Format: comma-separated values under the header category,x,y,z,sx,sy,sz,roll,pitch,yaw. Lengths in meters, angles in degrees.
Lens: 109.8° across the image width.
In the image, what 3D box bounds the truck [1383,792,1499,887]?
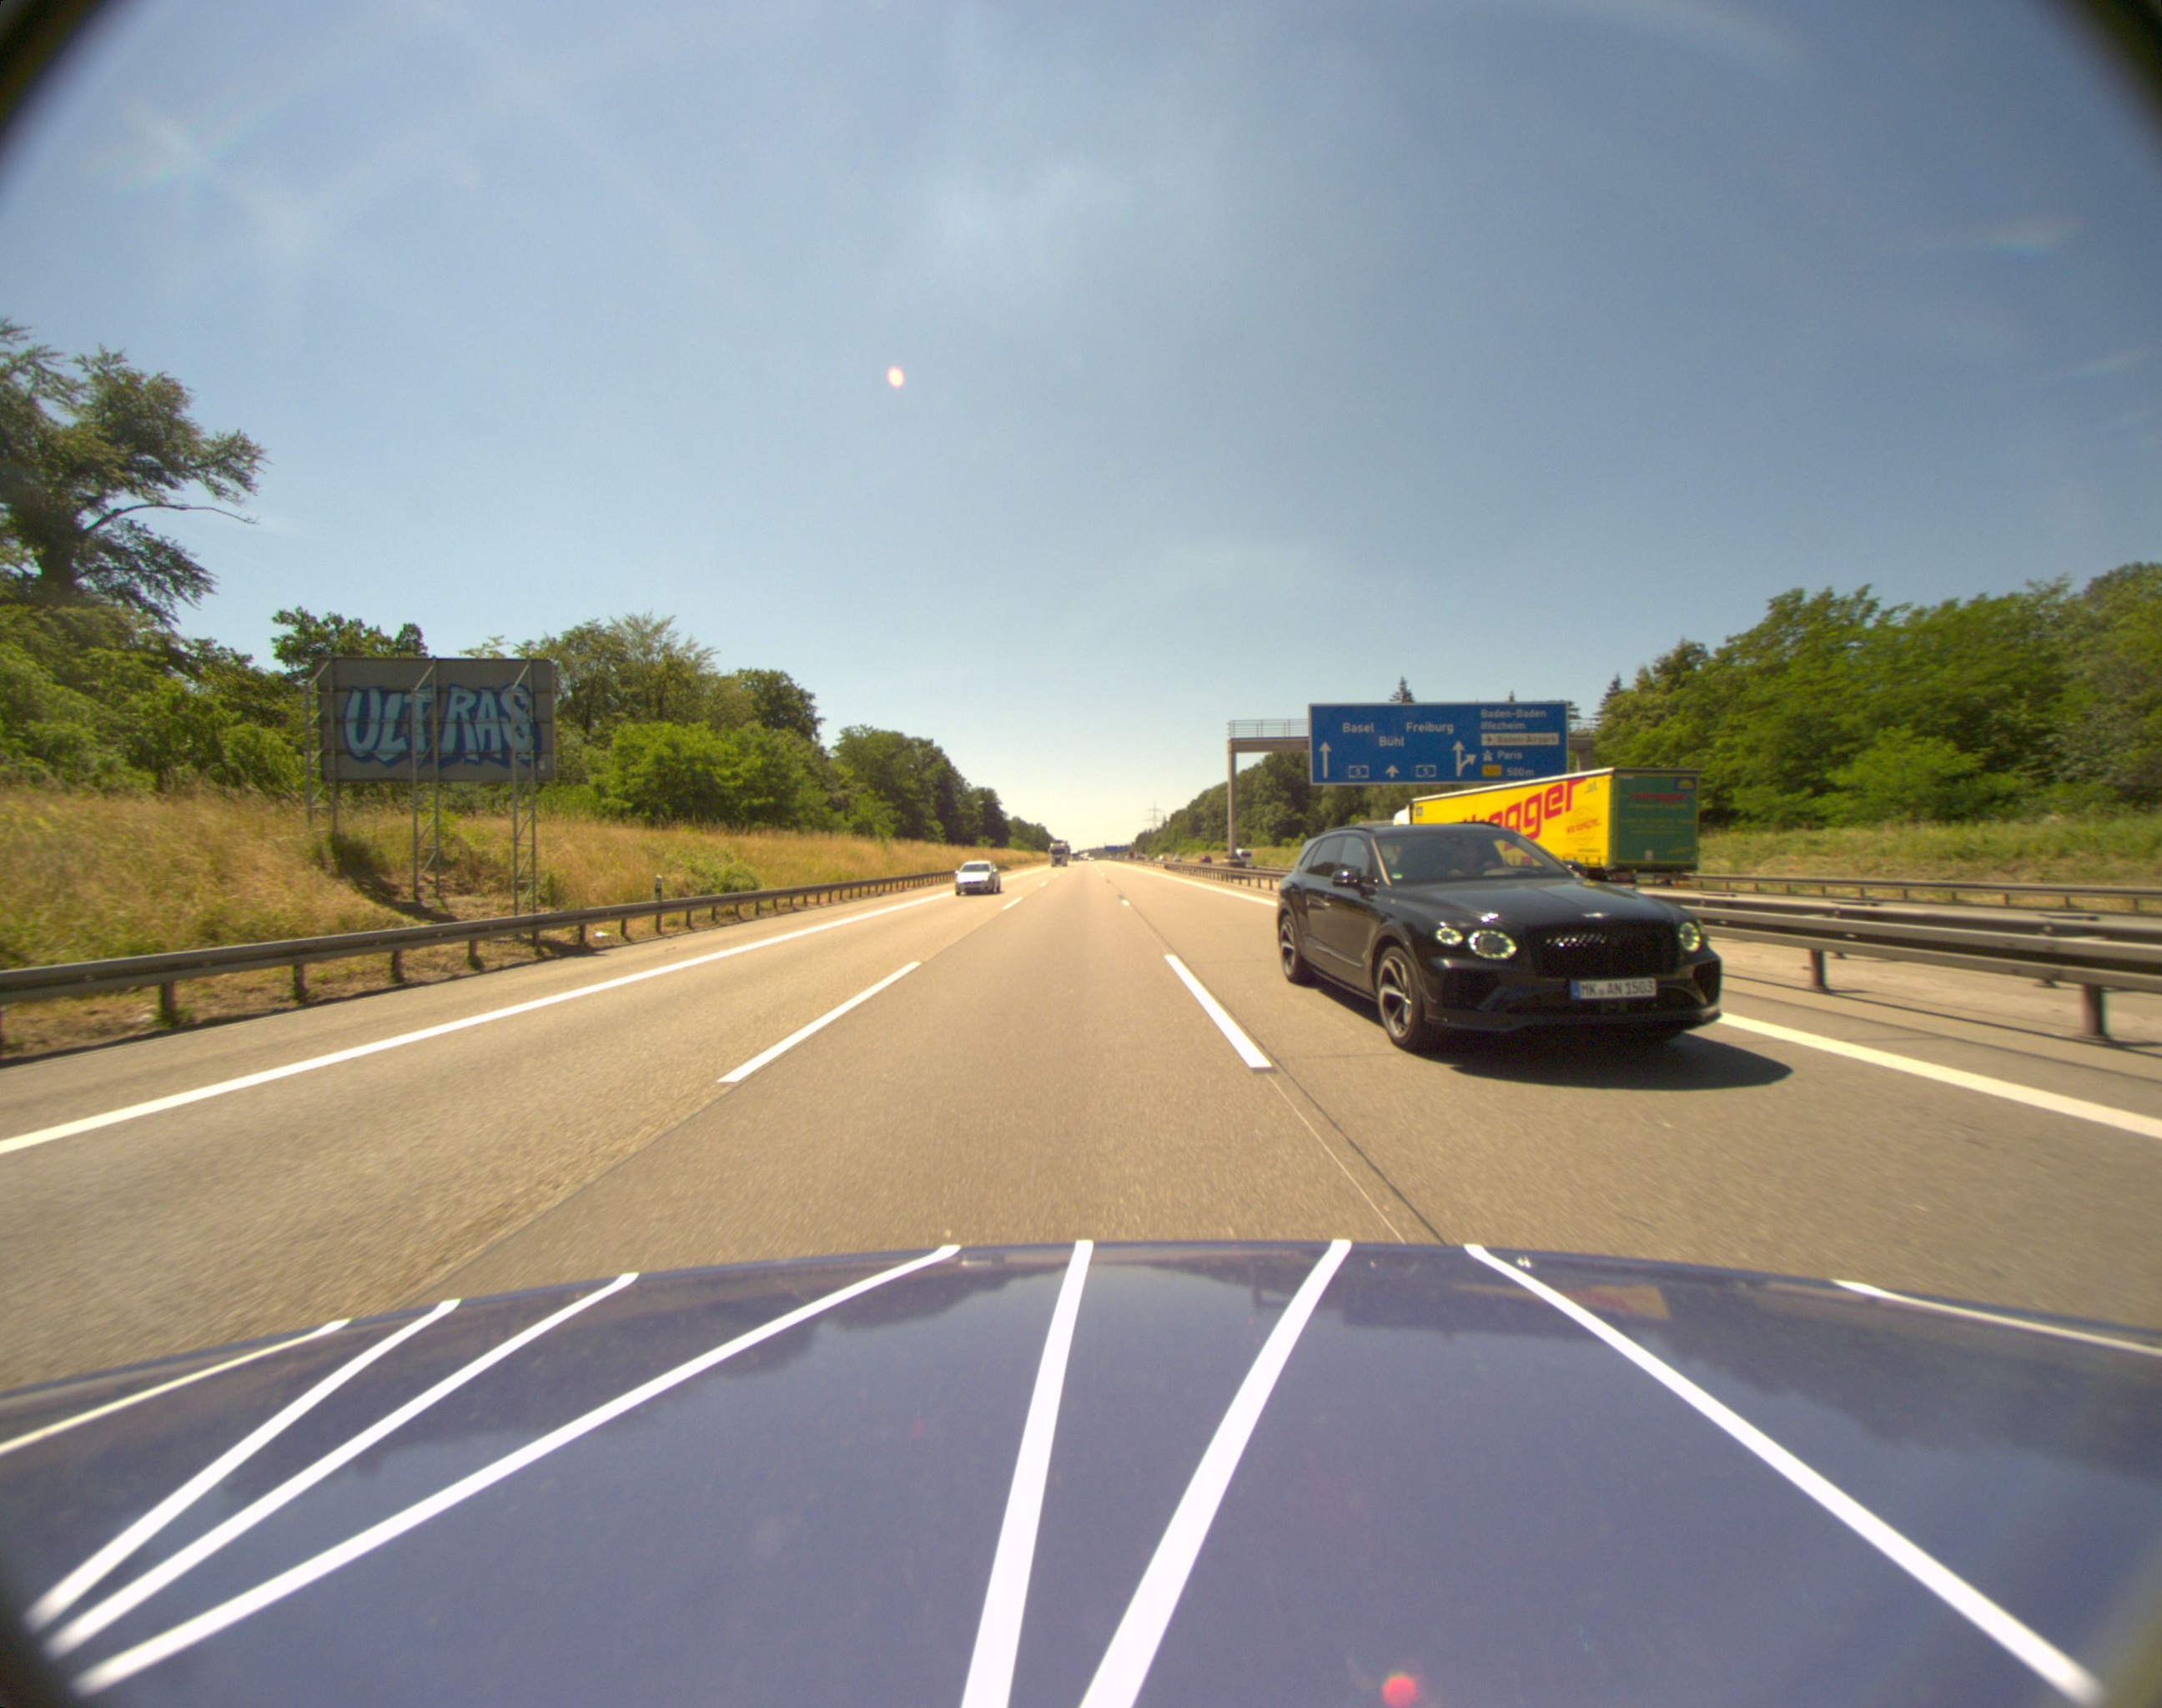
category,x,y,z,sx,sy,sz,roll,pitch,yaw
truck,16.848,-0.627,36.098,2.470,4.049,6.287,1,0,0

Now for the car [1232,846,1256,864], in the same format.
category,x,y,z,sx,sy,sz,roll,pitch,yaw
car,22.093,0.082,103.137,1.992,2.327,5.809,1,0,0

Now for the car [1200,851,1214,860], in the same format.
category,x,y,z,sx,sy,sz,roll,pitch,yaw
car,22.863,0.204,137.825,1.650,1.581,4.611,1,0,0

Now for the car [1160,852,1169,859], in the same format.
category,x,y,z,sx,sy,sz,roll,pitch,yaw
car,18.750,0.229,170.593,1.651,1.490,4.560,1,0,0

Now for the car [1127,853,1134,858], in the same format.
category,x,y,z,sx,sy,sz,roll,pitch,yaw
car,15.813,0.524,241.510,1.799,1.465,4.986,1,0,0

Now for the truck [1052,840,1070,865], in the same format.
category,x,y,z,sx,sy,sz,roll,pitch,yaw
truck,-3.292,-0.256,124.421,2.605,3.811,5.969,-3,0,1

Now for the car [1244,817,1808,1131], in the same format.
category,x,y,z,sx,sy,sz,roll,pitch,yaw
car,3.184,0.699,7.271,1.945,1.742,5.813,-2,0,0

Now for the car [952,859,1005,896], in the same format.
category,x,y,z,sx,sy,sz,roll,pitch,yaw
car,-4.590,1.021,34.542,1.749,1.457,3.980,-2,0,1

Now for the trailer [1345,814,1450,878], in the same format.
category,x,y,z,sx,sy,sz,roll,pitch,yaw
trailer,21.502,-0.519,52.547,2.632,3.925,11.157,1,0,1

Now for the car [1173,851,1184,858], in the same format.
category,x,y,z,sx,sy,sz,roll,pitch,yaw
car,22.562,0.071,176.165,1.799,1.508,4.903,1,0,0

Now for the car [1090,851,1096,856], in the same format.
category,x,y,z,sx,sy,sz,roll,pitch,yaw
car,4.131,-0.131,255.678,1.796,1.412,3.999,-3,0,0

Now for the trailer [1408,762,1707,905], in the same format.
category,x,y,z,sx,sy,sz,roll,pitch,yaw
trailer,16.771,-0.601,29.008,2.470,4.049,14.278,1,0,1

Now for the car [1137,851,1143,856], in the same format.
category,x,y,z,sx,sy,sz,roll,pitch,yaw
car,20.078,-0.319,257.900,1.799,1.609,4.986,1,0,0

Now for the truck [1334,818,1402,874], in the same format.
category,x,y,z,sx,sy,sz,roll,pitch,yaw
truck,21.570,-0.548,57.447,2.632,3.925,6.482,1,0,0

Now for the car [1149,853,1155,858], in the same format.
category,x,y,z,sx,sy,sz,roll,pitch,yaw
car,23.496,0.549,250.785,1.675,1.401,4.597,1,0,0
